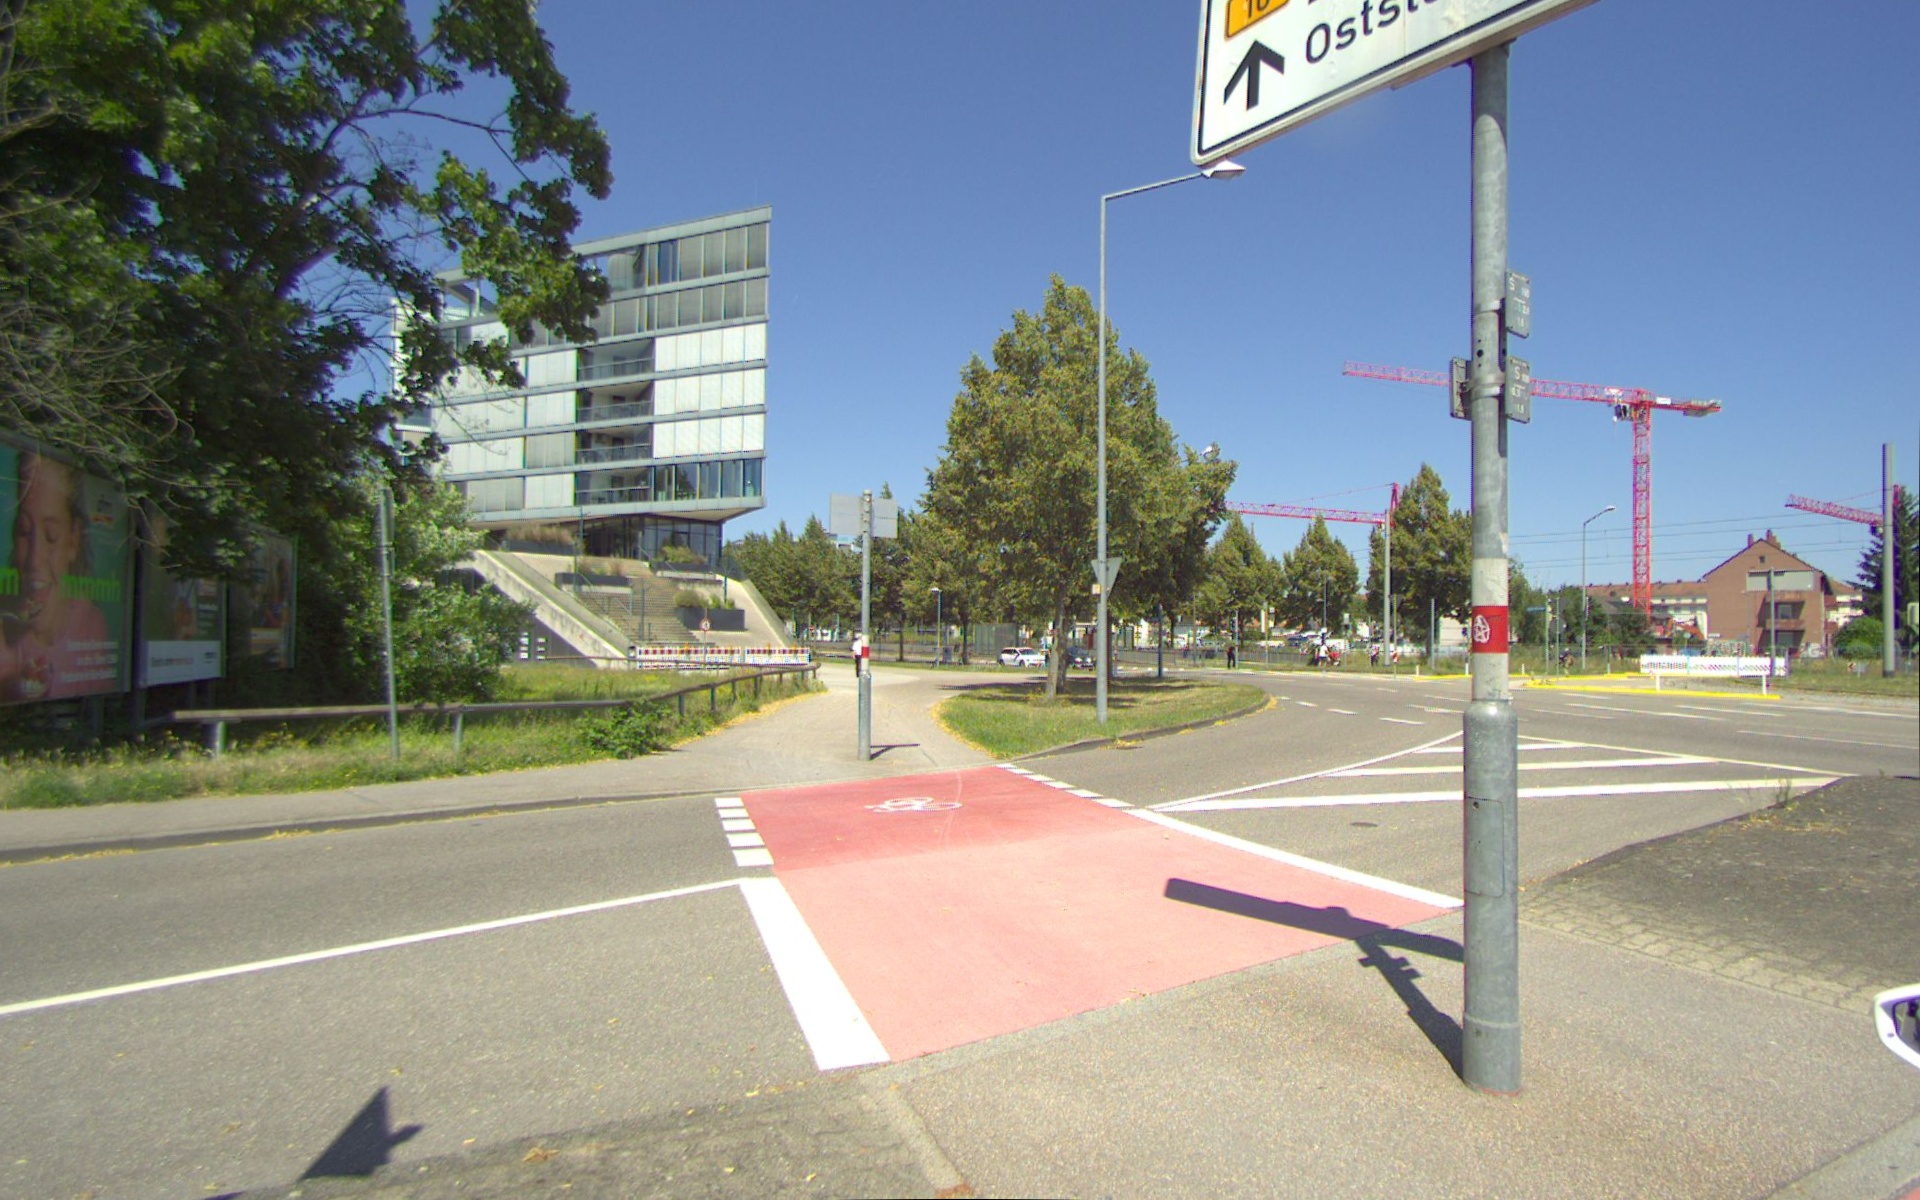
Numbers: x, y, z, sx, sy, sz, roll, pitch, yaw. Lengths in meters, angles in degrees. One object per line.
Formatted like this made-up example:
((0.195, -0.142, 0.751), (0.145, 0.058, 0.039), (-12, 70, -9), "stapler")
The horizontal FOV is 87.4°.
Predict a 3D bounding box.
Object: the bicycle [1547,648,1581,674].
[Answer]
((41.525, 4.184, 69.035), (2.047, 1.707, 0.559), (2, -1, -7), "bicycle")

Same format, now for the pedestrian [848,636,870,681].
((-4.395, 2.547, 43.784), (0.821, 1.893, 0.610), (2, -1, -15), "pedestrian")

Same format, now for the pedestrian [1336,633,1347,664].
((24.397, 3.101, 64.260), (0.618, 1.960, 0.645), (-1, -2, 27), "pedestrian")

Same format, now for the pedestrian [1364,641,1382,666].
((28.367, 3.690, 68.963), (0.748, 1.661, 0.778), (2, -1, -16), "pedestrian")

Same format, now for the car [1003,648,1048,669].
((4.305, 3.865, 66.497), (1.557, 1.241, 3.301), (2, -1, -26), "car")

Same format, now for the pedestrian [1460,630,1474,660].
((35.279, 3.114, 69.830), (0.587, 2.040, 0.599), (2, -1, -29), "pedestrian")

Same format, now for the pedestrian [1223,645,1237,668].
((16.825, 3.534, 62.589), (0.589, 1.424, 0.540), (1, -2, -26), "pedestrian")

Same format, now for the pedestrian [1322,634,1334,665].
((23.521, 3.153, 64.206), (0.618, 1.960, 0.645), (-1, -2, 27), "pedestrian")

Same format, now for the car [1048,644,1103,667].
((7.068, 3.406, 61.780), (1.718, 1.228, 3.542), (2, -1, -26), "car")
